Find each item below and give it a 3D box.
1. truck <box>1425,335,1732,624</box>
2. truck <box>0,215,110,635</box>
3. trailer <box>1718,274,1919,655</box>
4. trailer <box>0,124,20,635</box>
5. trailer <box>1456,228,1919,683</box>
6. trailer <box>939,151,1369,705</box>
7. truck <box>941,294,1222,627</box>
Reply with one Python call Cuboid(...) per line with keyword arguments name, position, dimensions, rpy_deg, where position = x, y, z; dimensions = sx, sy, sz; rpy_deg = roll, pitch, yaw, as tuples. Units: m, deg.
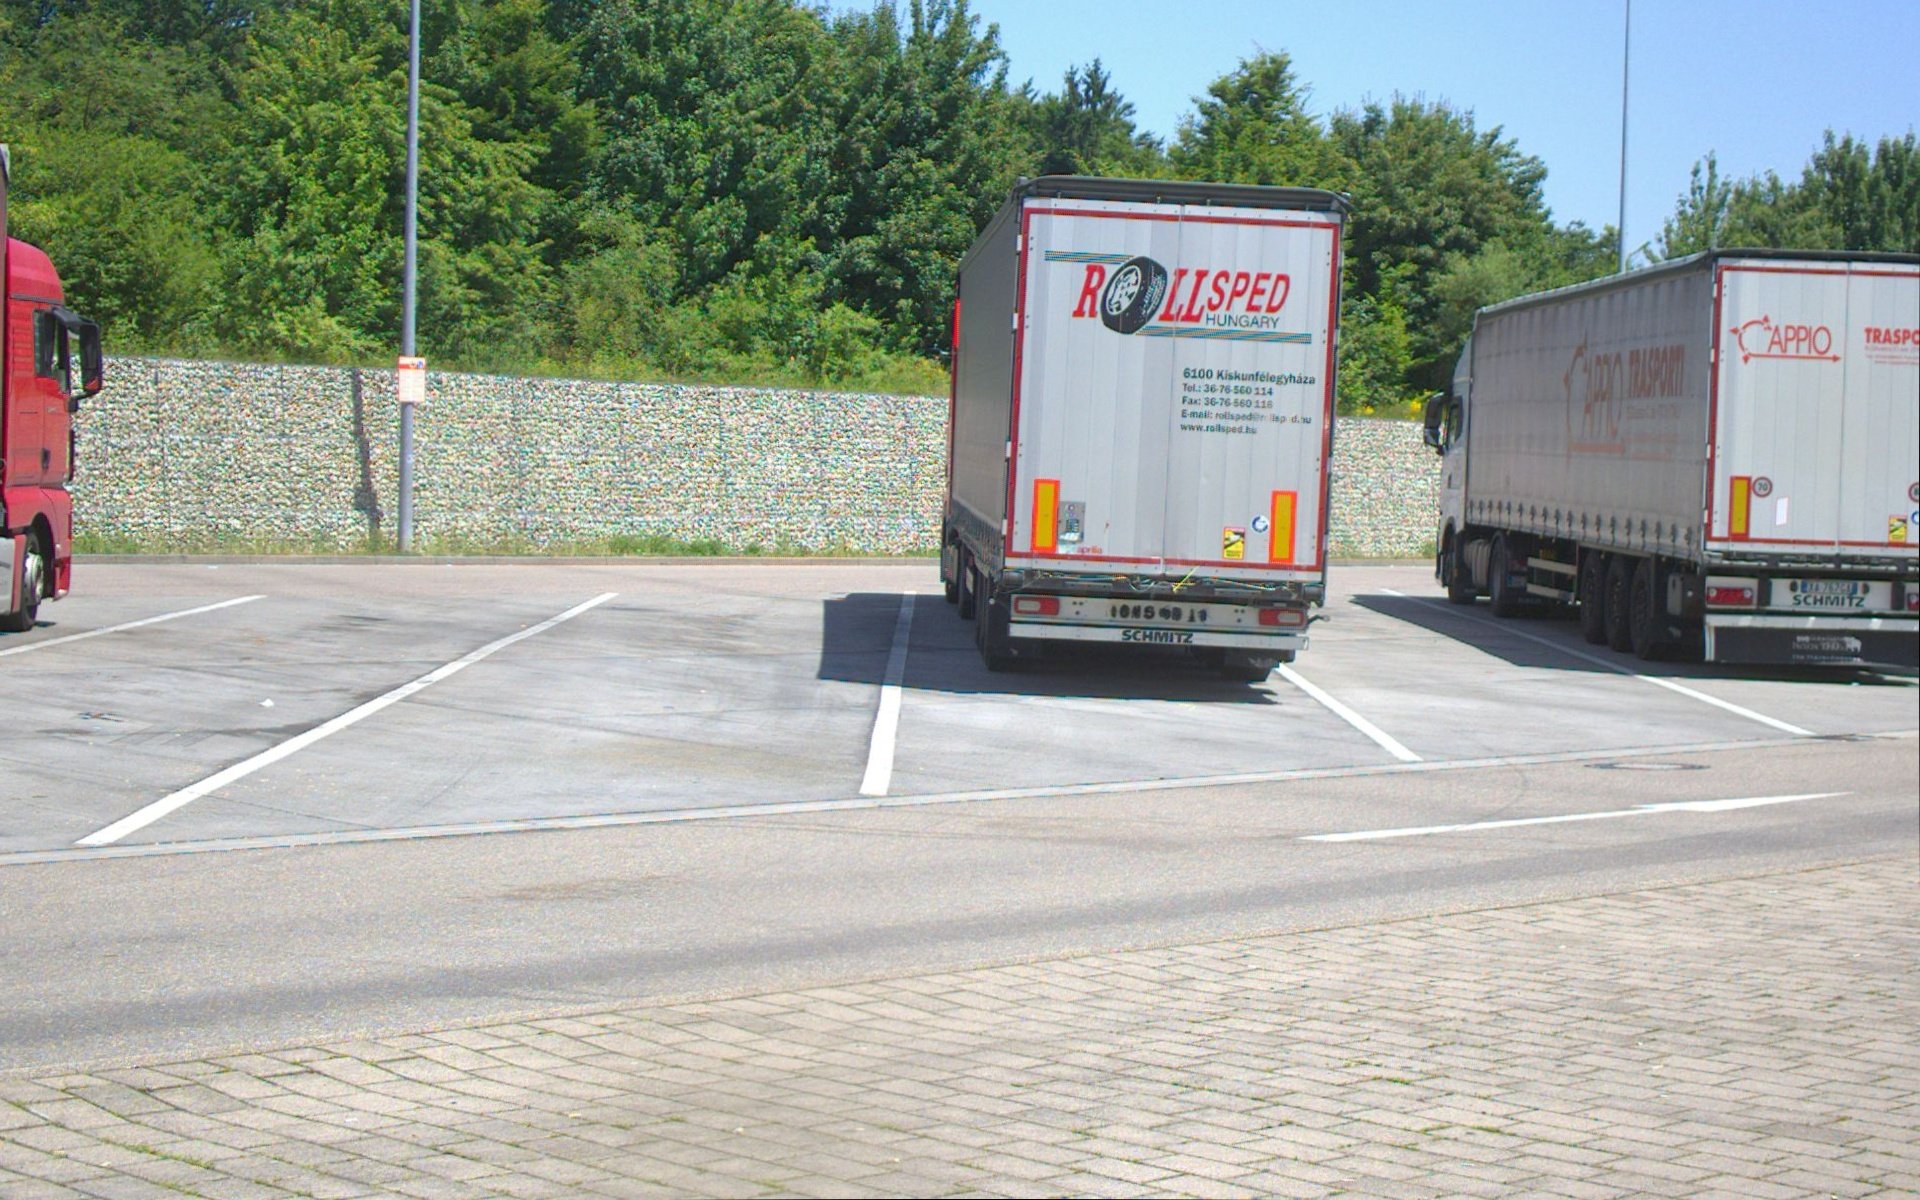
Cuboid(name="truck", position=(8.062, -1.619, 45.491), dimensions=(2.852, 3.472, 5.483), rpy_deg=(2, 2, -1))
Cuboid(name="truck", position=(-9.235, -1.500, 28.728), dimensions=(2.852, 3.416, 5.483), rpy_deg=(2, 2, -1))
Cuboid(name="trailer", position=(11.793, -1.525, 39.431), dimensions=(2.838, 4.118, 13.724), rpy_deg=(2, 3, -1))
Cuboid(name="trailer", position=(-9.143, -1.486, 21.289), dimensions=(2.906, 4.118, 13.725), rpy_deg=(2, 3, -1))
Cuboid(name="trailer", position=(8.156, -1.622, 38.678), dimensions=(2.838, 4.118, 13.724), rpy_deg=(2, 3, -1))
Cuboid(name="trailer", position=(1.440, -1.617, 33.187), dimensions=(2.906, 4.118, 13.725), rpy_deg=(2, 3, -1))
Cuboid(name="truck", position=(1.291, -1.623, 39.800), dimensions=(2.852, 3.472, 5.483), rpy_deg=(2, 2, -1))
